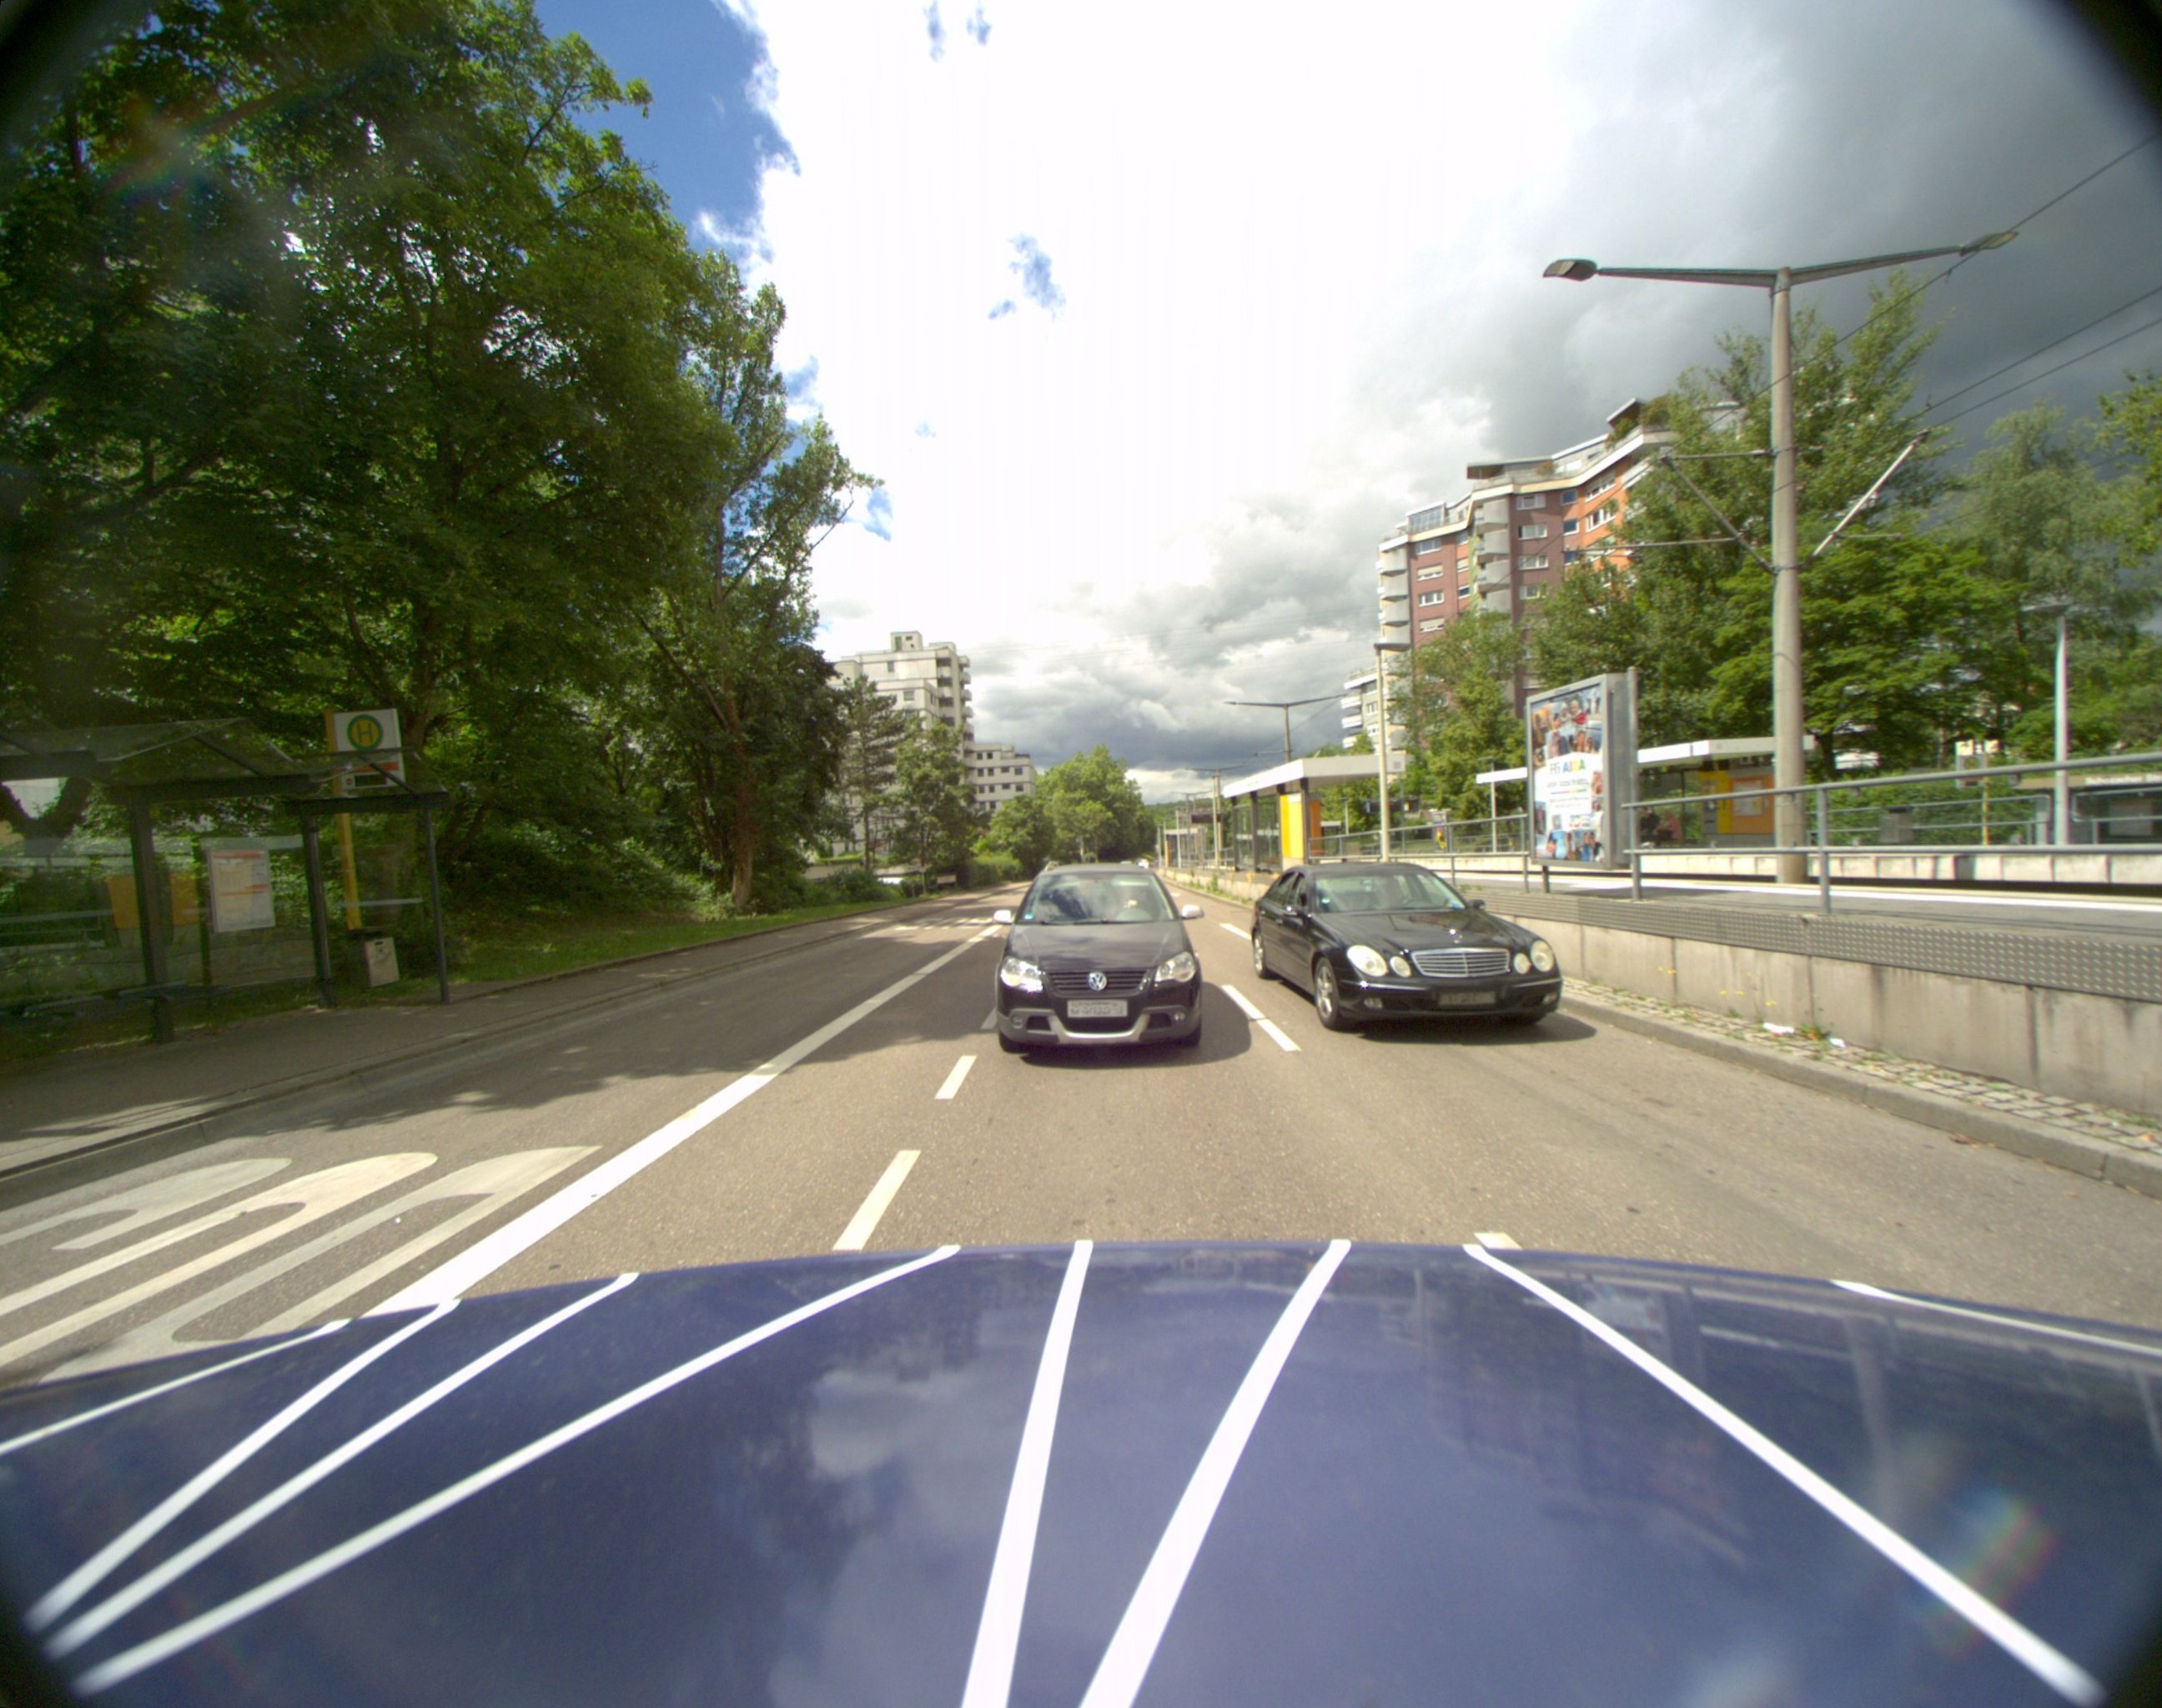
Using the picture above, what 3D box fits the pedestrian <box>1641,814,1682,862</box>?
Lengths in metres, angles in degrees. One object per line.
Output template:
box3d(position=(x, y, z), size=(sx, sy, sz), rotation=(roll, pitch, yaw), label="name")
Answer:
box3d(position=(15.690, -0.420, 20.545), size=(0.713, 1.270, 0.463), rotation=(-2, 0, 0), label="pedestrian")

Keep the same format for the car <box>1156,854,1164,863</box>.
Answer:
box3d(position=(16.978, 0.951, 163.249), size=(1.518, 1.674, 4.001), rotation=(-2, 0, 4), label="car")

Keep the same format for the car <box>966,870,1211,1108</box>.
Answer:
box3d(position=(0.163, 0.978, 7.236), size=(1.641, 1.521, 4.001), rotation=(-2, 0, 3), label="car")

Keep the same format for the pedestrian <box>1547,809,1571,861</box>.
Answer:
box3d(position=(15.845, -0.618, 25.203), size=(0.387, 1.703, 0.550), rotation=(-2, 1, -42), label="pedestrian")

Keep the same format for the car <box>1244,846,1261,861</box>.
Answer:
box3d(position=(24.931, -0.044, 110.574), size=(1.737, 2.002, 4.001), rotation=(-2, 0, 3), label="car")

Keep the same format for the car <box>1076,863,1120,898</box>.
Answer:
box3d(position=(0.822, 1.160, 34.443), size=(1.821, 1.377, 4.066), rotation=(-2, 0, 3), label="car")

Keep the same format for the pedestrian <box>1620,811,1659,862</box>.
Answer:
box3d(position=(15.711, -0.487, 21.378), size=(0.713, 1.409, 0.463), rotation=(-2, 0, 0), label="pedestrian")

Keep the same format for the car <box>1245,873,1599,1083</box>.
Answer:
box3d(position=(2.898, 0.954, 7.537), size=(1.821, 1.377, 4.066), rotation=(-2, 0, 3), label="car")

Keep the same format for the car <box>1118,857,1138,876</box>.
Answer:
box3d(position=(5.464, 1.469, 88.688), size=(1.997, 2.002, 4.002), rotation=(-2, 0, 7), label="car")

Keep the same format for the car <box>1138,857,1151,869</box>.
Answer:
box3d(position=(9.350, 1.344, 111.990), size=(1.801, 1.698, 4.001), rotation=(-2, 0, 5), label="car")

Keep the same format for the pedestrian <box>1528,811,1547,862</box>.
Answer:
box3d(position=(15.288, -0.581, 25.437), size=(0.354, 1.703, 0.426), rotation=(-2, 1, -41), label="pedestrian")

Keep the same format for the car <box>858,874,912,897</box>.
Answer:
box3d(position=(-18.816, 3.028, 73.033), size=(4.543, 2.002, 2.001), rotation=(-2, 0, 7), label="car")

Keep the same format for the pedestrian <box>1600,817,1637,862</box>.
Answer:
box3d(position=(15.869, -0.420, 22.440), size=(0.713, 1.270, 0.463), rotation=(-2, 0, 0), label="pedestrian")
